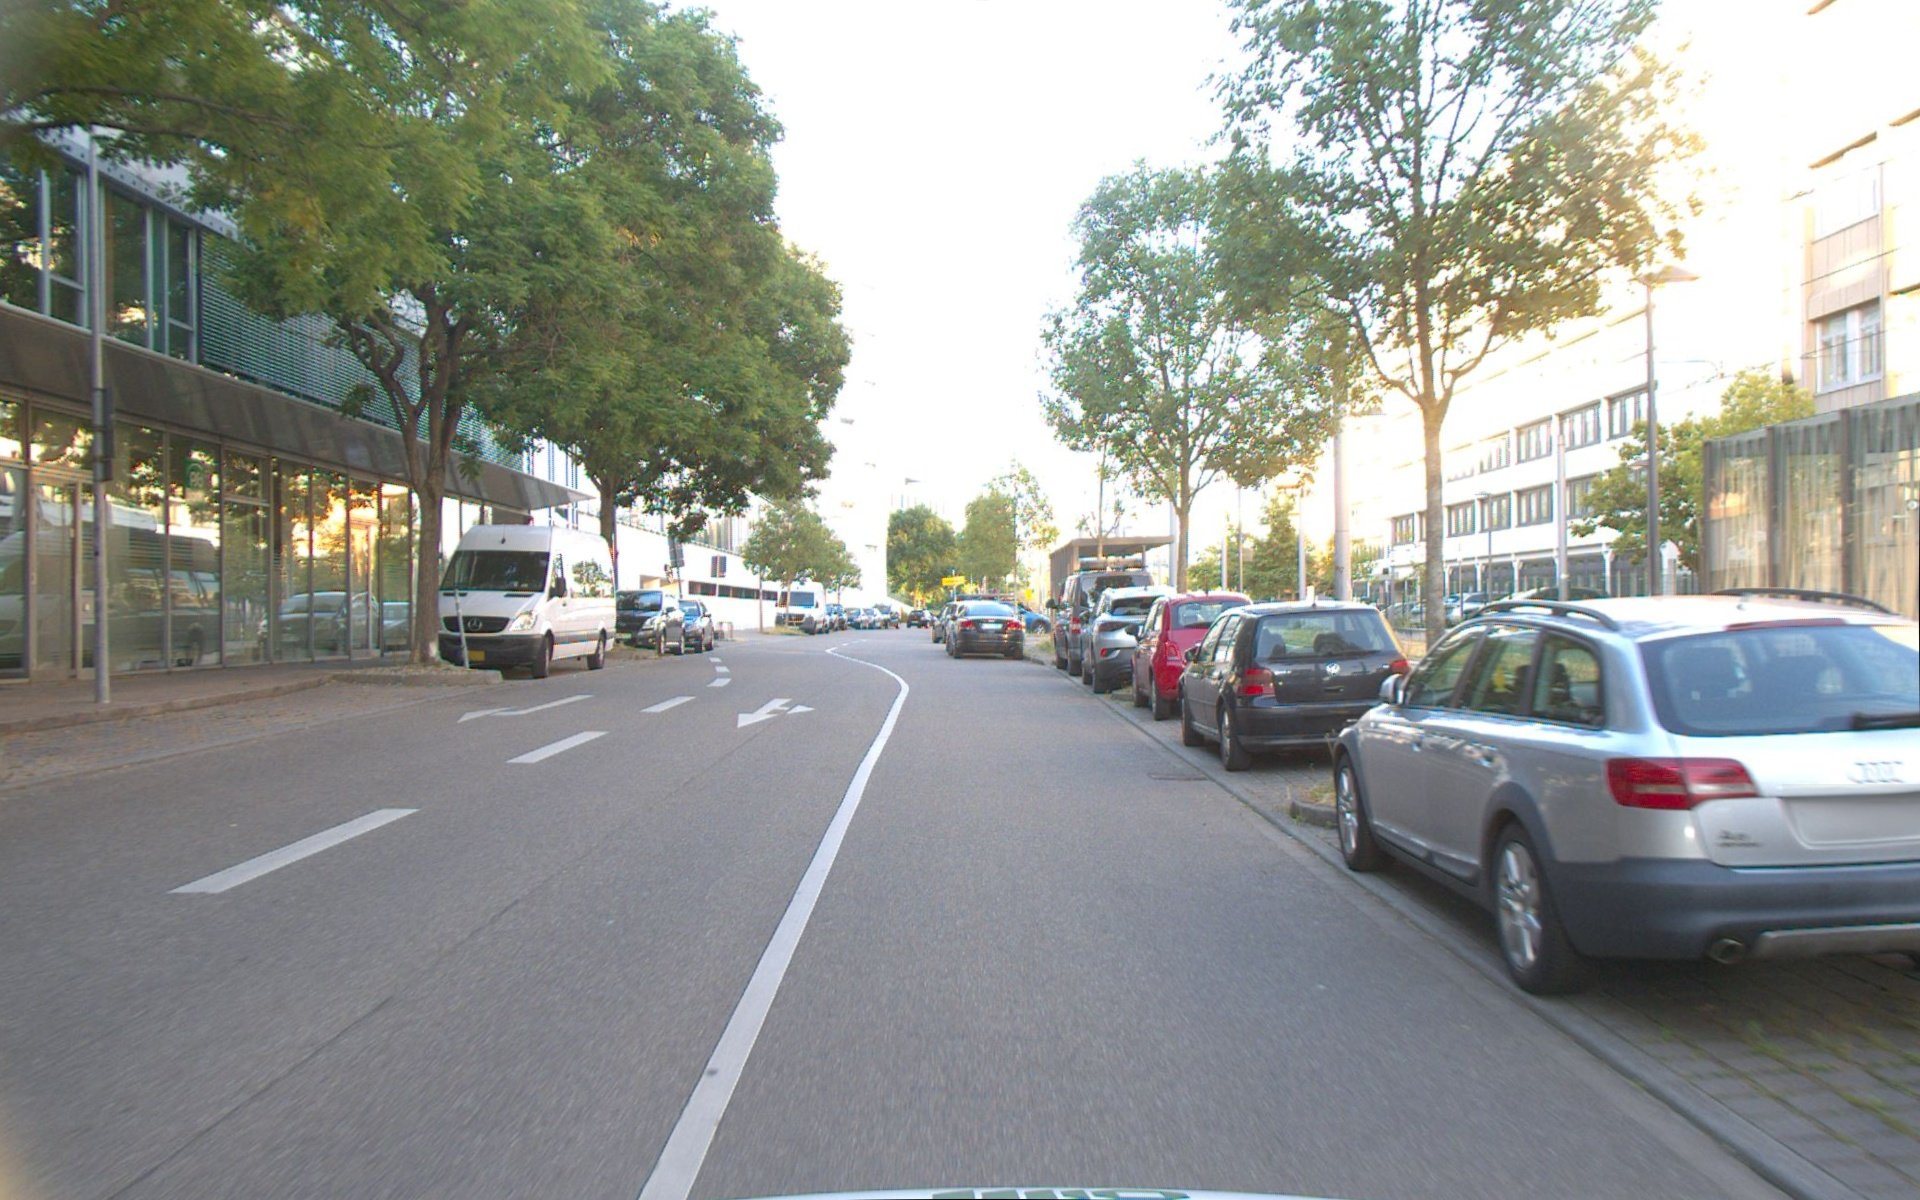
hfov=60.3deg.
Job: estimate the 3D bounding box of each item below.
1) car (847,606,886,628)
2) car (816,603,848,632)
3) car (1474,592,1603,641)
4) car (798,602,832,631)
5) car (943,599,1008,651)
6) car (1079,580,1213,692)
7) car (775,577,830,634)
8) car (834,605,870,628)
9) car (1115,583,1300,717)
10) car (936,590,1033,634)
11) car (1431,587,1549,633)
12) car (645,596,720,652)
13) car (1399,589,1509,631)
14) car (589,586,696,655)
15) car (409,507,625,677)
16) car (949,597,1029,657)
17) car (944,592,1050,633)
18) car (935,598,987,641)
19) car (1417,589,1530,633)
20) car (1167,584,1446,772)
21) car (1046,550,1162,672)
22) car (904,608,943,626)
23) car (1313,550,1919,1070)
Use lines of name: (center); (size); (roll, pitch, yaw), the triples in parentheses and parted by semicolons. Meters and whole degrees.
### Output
car: (-6.626, 1.202, 117.552); (1.685, 1.483, 4.698); (2, 0, 10)
car: (-7.989, 1.085, 103.649); (1.720, 1.682, 3.948); (2, 0, -1)
car: (20.310, 0.564, 58.149); (3.905, 1.513, 1.675); (-3, 0, 0)
car: (-7.804, 0.874, 88.917); (1.722, 1.465, 3.897); (2, 0, -5)
car: (0.424, 0.713, 49.180); (1.642, 1.477, 4.184); (0, 0, -3)
car: (2.938, 0.543, 26.948); (1.672, 1.608, 4.479); (-2, 0, 1)
car: (-7.803, 0.255, 82.571); (1.918, 2.663, 6.893); (2, 0, 1)
car: (-7.308, 1.128, 112.191); (1.686, 1.483, 4.274); (2, 0, 6)
car: (3.127, 0.600, 21.682); (1.673, 1.519, 4.129); (-2, 0, -1)
car: (1.207, 0.587, 81.346); (4.548, 2.071, 1.849); (1, 0, -35)
car: (20.142, 0.374, 62.926); (3.905, 1.513, 1.675); (-3, 0, 0)
car: (-7.684, 0.638, 46.045); (1.681, 1.477, 4.395); (0, 0, -5)
car: (20.314, 0.400, 68.129); (3.907, 1.540, 1.823); (-2, 0, -2)
car: (-7.686, 0.468, 40.424); (1.806, 1.599, 4.267); (0, 0, 0)
car: (-7.785, -0.129, 29.909); (2.057, 2.710, 6.950); (0, 0, 0)
car: (0.699, 0.678, 43.357); (1.752, 1.477, 4.512); (0, 0, -4)
car: (1.509, 0.514, 67.002); (3.956, 1.547, 1.903); (-1, -2, -36)
car: (0.017, 0.732, 60.629); (1.696, 1.491, 3.998); (2, -1, -2)
car: (20.274, 0.428, 65.436); (3.905, 1.513, 1.675); (-3, 0, 0)
car: (3.099, 0.652, 15.605); (1.673, 1.477, 3.999); (-2, 0, -1)
car: (2.848, 0.216, 33.557); (1.768, 2.214, 4.734); (-2, 0, -1)
car: (-2.885, 1.370, 133.126); (1.903, 1.407, 4.402); (2, 0, 16)
car: (2.995, 0.620, 7.463); (1.759, 1.522, 4.781); (-4, 0, 1)
